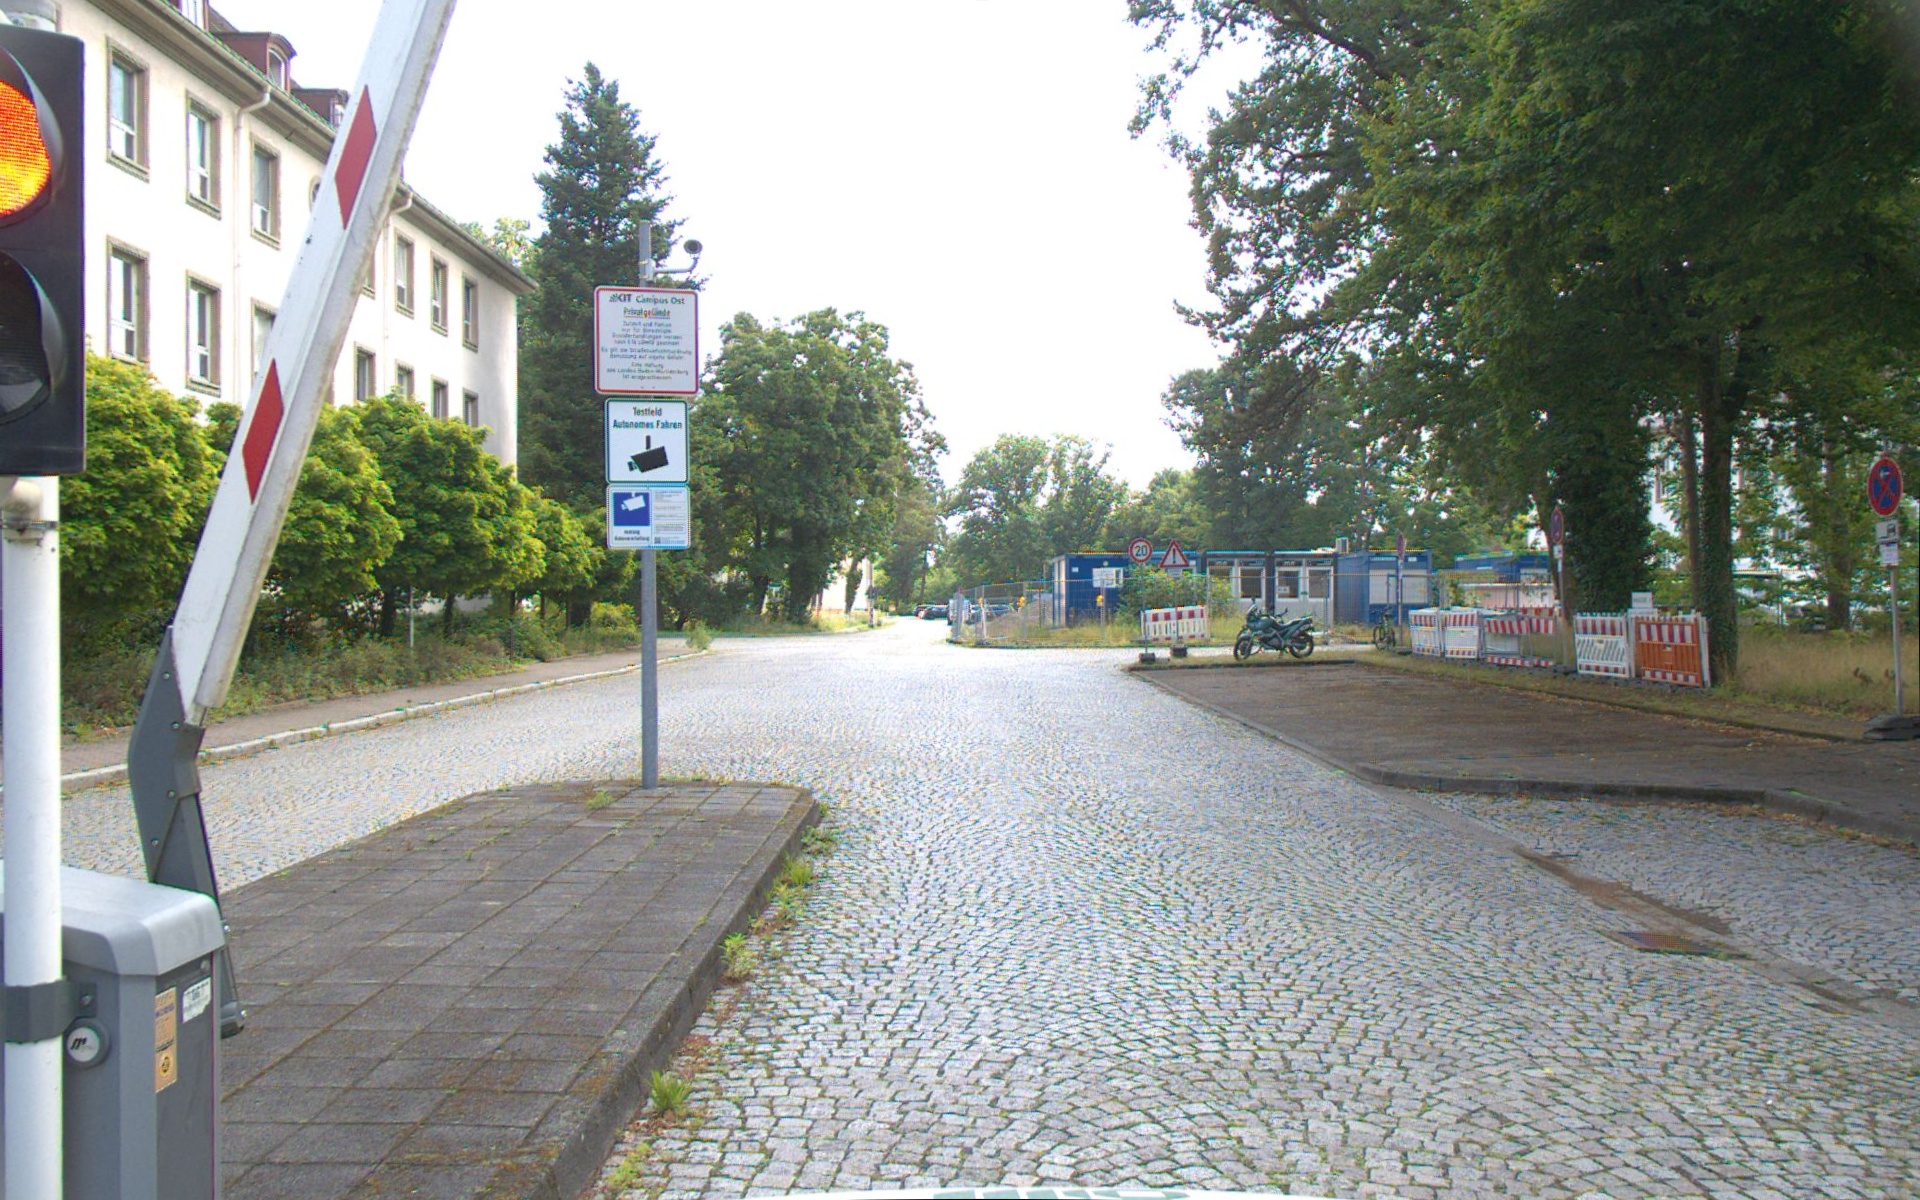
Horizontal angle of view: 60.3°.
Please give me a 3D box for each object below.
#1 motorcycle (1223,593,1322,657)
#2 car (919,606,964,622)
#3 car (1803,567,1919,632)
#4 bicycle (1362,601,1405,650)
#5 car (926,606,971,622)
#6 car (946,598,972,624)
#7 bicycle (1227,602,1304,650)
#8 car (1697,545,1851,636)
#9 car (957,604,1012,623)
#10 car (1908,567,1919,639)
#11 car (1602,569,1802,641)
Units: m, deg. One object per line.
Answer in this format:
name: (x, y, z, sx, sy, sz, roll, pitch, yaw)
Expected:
motorcycle: (7.602, 0.594, 40.240, 2.232, 1.511, 0.756, -1, 0, -6)
car: (-2.023, 1.518, 180.810, 4.688, 1.669, 1.997, 0, -1, -6)
car: (27.879, 0.004, 50.451, 1.952, 1.857, 4.875, 1, 0, 1)
bicycle: (10.704, 0.622, 41.837, 0.629, 1.189, 1.905, -1, 0, 2)
car: (-1.291, 1.509, 177.926, 4.688, 1.669, 1.997, 0, -1, -6)
car: (-0.072, 0.886, 131.200, 1.953, 2.049, 4.089, 0, -1, -2)
bicycle: (7.905, 0.668, 42.751, 1.859, 1.218, 0.656, -1, 0, 19)
car: (24.928, -0.256, 50.944, 1.952, 2.601, 5.911, 1, 0, 2)
car: (2.054, 1.132, 137.152, 4.309, 1.537, 2.001, 1, 0, 7)
car: (26.268, 0.098, 40.699, 1.970, 1.857, 4.832, 1, 0, -27)
car: (20.796, 0.122, 46.482, 4.758, 1.954, 1.907, 0, 1, 0)
